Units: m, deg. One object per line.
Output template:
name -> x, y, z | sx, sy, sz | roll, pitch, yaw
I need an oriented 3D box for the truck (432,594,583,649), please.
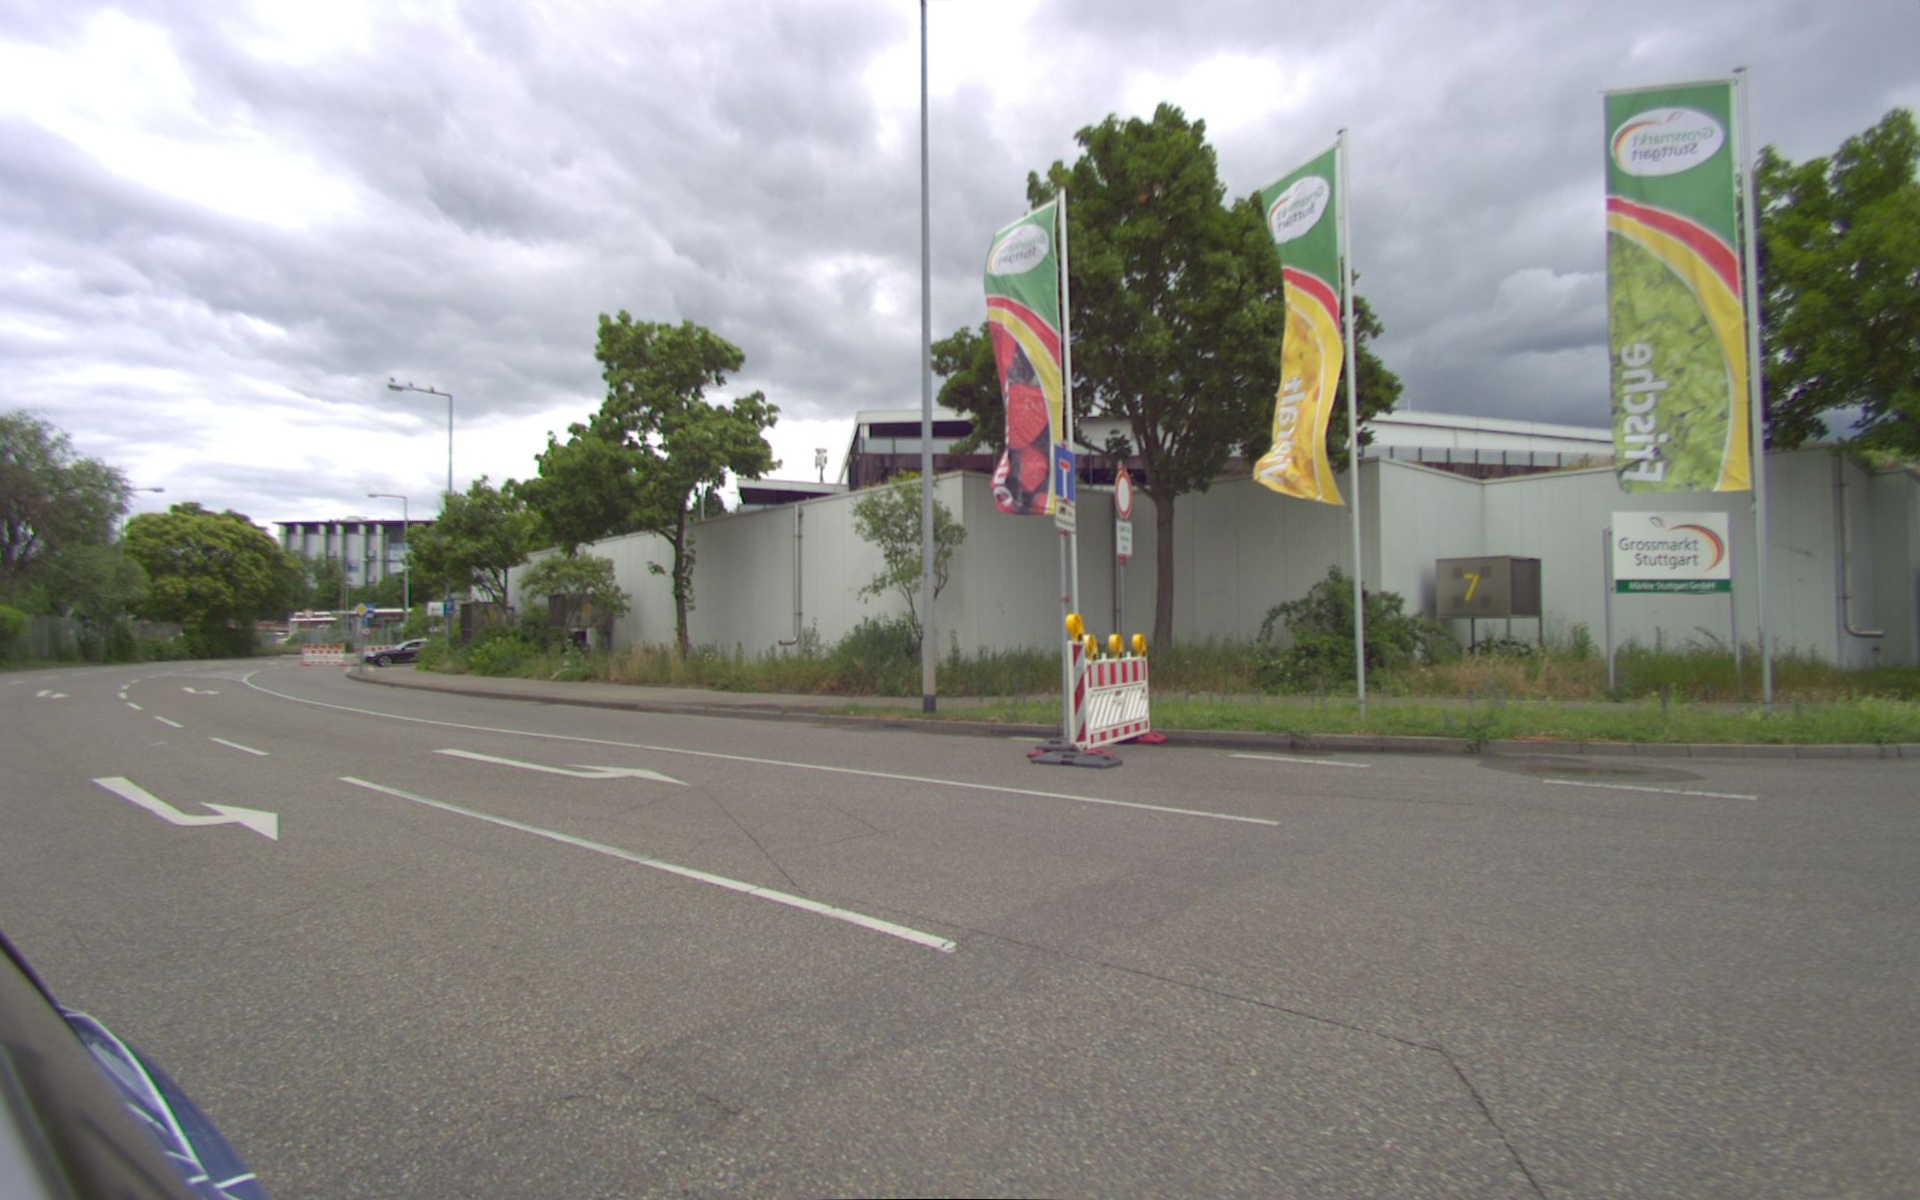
truck -> -31.105, 1.524, 69.802 | 9.125, 3.623, 2.939 | 1, -3, -35

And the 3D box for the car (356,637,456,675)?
car -> -30.220, 3.017, 55.223 | 4.547, 1.823, 2.004 | -1, -2, -36
